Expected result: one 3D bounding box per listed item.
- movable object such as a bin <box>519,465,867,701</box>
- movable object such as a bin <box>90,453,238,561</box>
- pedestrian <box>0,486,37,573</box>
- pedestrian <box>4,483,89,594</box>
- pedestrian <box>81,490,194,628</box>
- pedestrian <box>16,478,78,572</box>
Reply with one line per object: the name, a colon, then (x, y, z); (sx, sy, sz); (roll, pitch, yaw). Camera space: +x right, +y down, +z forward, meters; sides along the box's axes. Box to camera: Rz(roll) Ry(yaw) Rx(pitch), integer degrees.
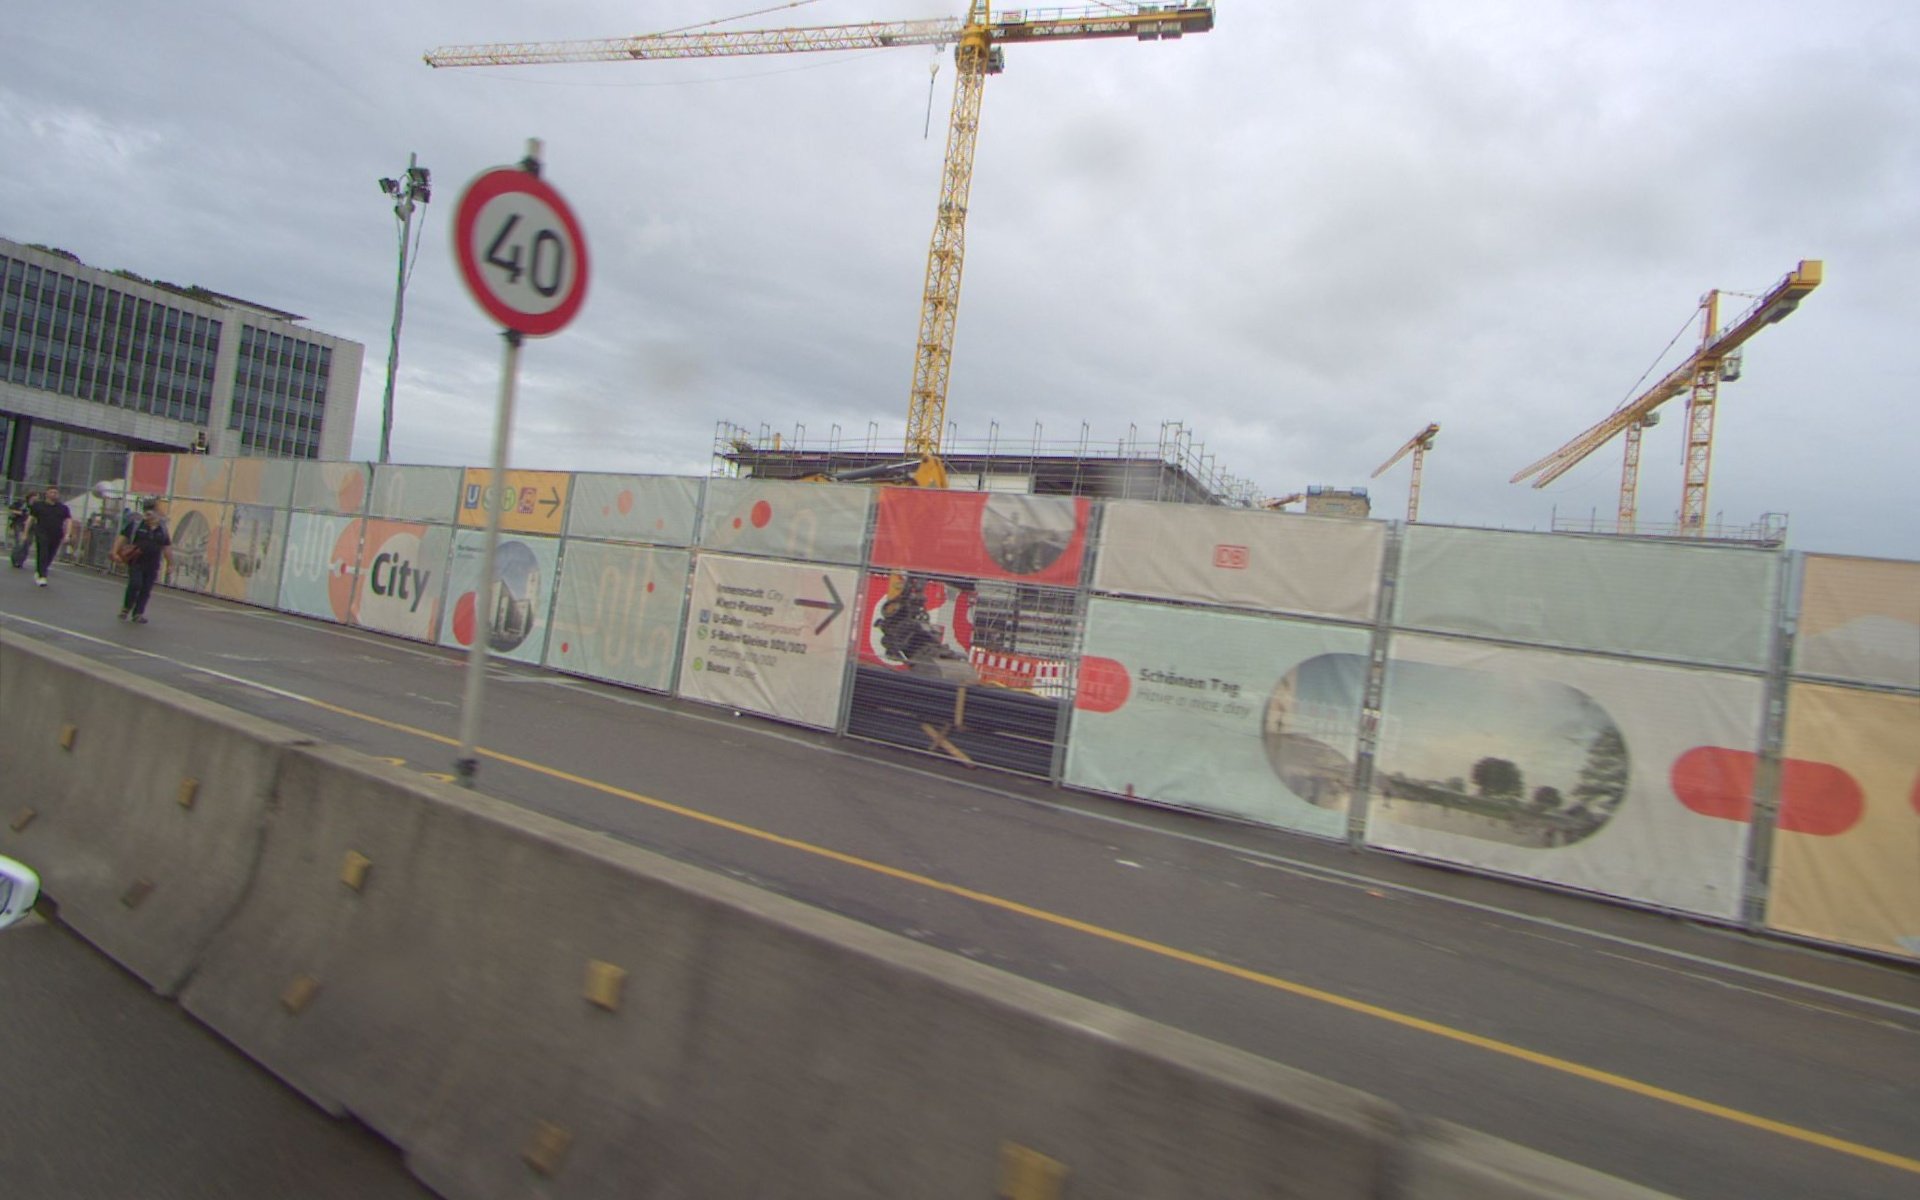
movable object such as a bin: (-4.782, -0.235, 18.429); (4.282, 3.533, 3.937); (7, -1, 30)
movable object such as a bin: (-32.192, -3.708, 40.680); (4.299, 3.533, 3.921); (6, -2, 44)
pedestrian: (-21.363, -1.598, 22.455); (0.616, 1.854, 0.798); (7, -2, 33)
pedestrian: (-16.944, -1.128, 18.665); (0.807, 1.899, 0.797); (7, -2, 33)
pedestrian: (-12.037, -0.591, 14.738); (0.675, 1.854, 0.927); (7, -2, 33)
pedestrian: (-21.011, -1.721, 23.154); (0.675, 2.037, 0.680); (8, -1, 32)
